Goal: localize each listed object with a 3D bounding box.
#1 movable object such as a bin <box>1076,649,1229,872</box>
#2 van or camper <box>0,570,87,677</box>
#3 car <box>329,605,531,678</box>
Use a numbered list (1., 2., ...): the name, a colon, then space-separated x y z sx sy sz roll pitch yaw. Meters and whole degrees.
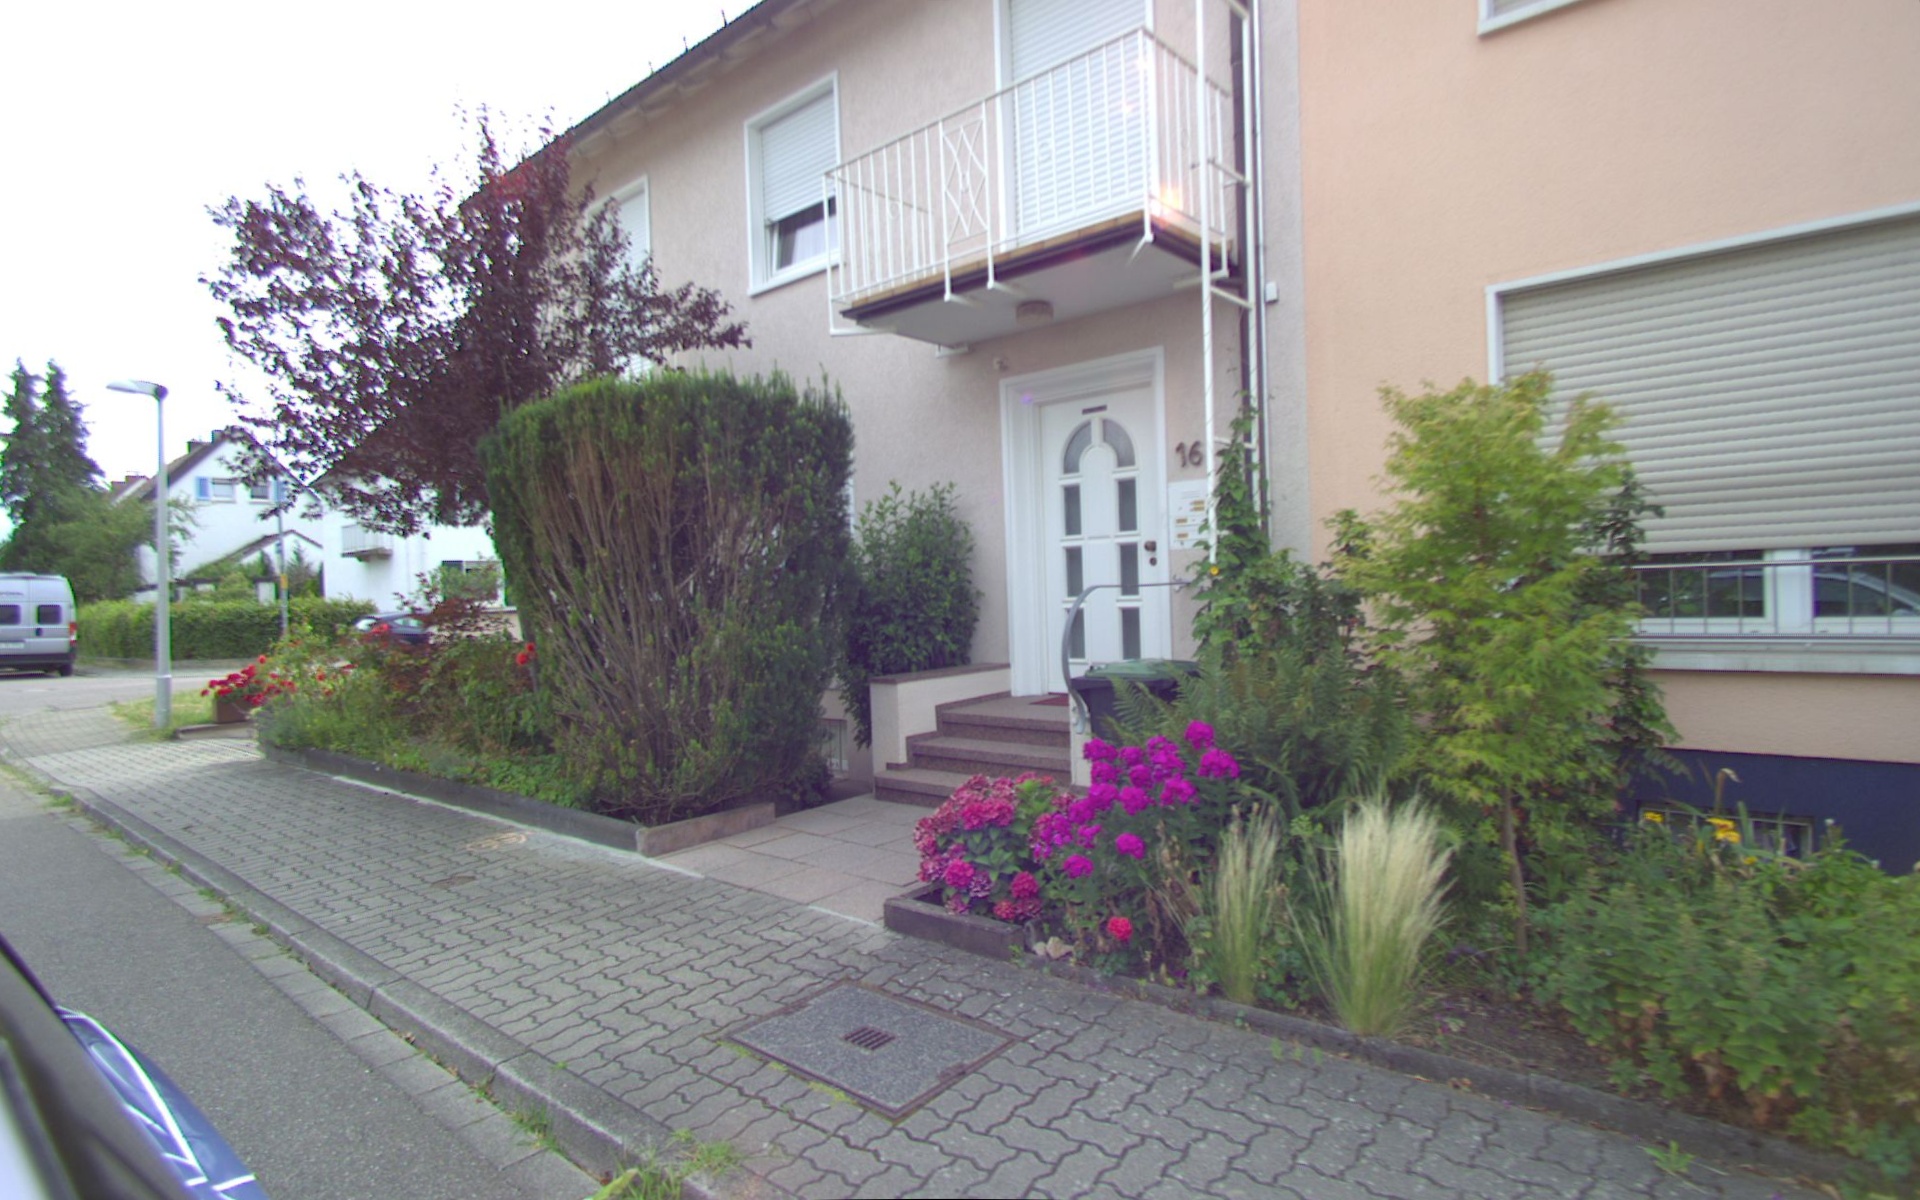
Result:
1. movable object such as a bin: 0.907 0.716 4.764 0.505 0.938 0.484 -2 0 40
2. van or camper: -26.577 0.664 28.464 5.746 2.755 2.316 -2 0 42
3. car: -12.452 0.931 23.942 1.721 1.452 3.832 -2 1 41
